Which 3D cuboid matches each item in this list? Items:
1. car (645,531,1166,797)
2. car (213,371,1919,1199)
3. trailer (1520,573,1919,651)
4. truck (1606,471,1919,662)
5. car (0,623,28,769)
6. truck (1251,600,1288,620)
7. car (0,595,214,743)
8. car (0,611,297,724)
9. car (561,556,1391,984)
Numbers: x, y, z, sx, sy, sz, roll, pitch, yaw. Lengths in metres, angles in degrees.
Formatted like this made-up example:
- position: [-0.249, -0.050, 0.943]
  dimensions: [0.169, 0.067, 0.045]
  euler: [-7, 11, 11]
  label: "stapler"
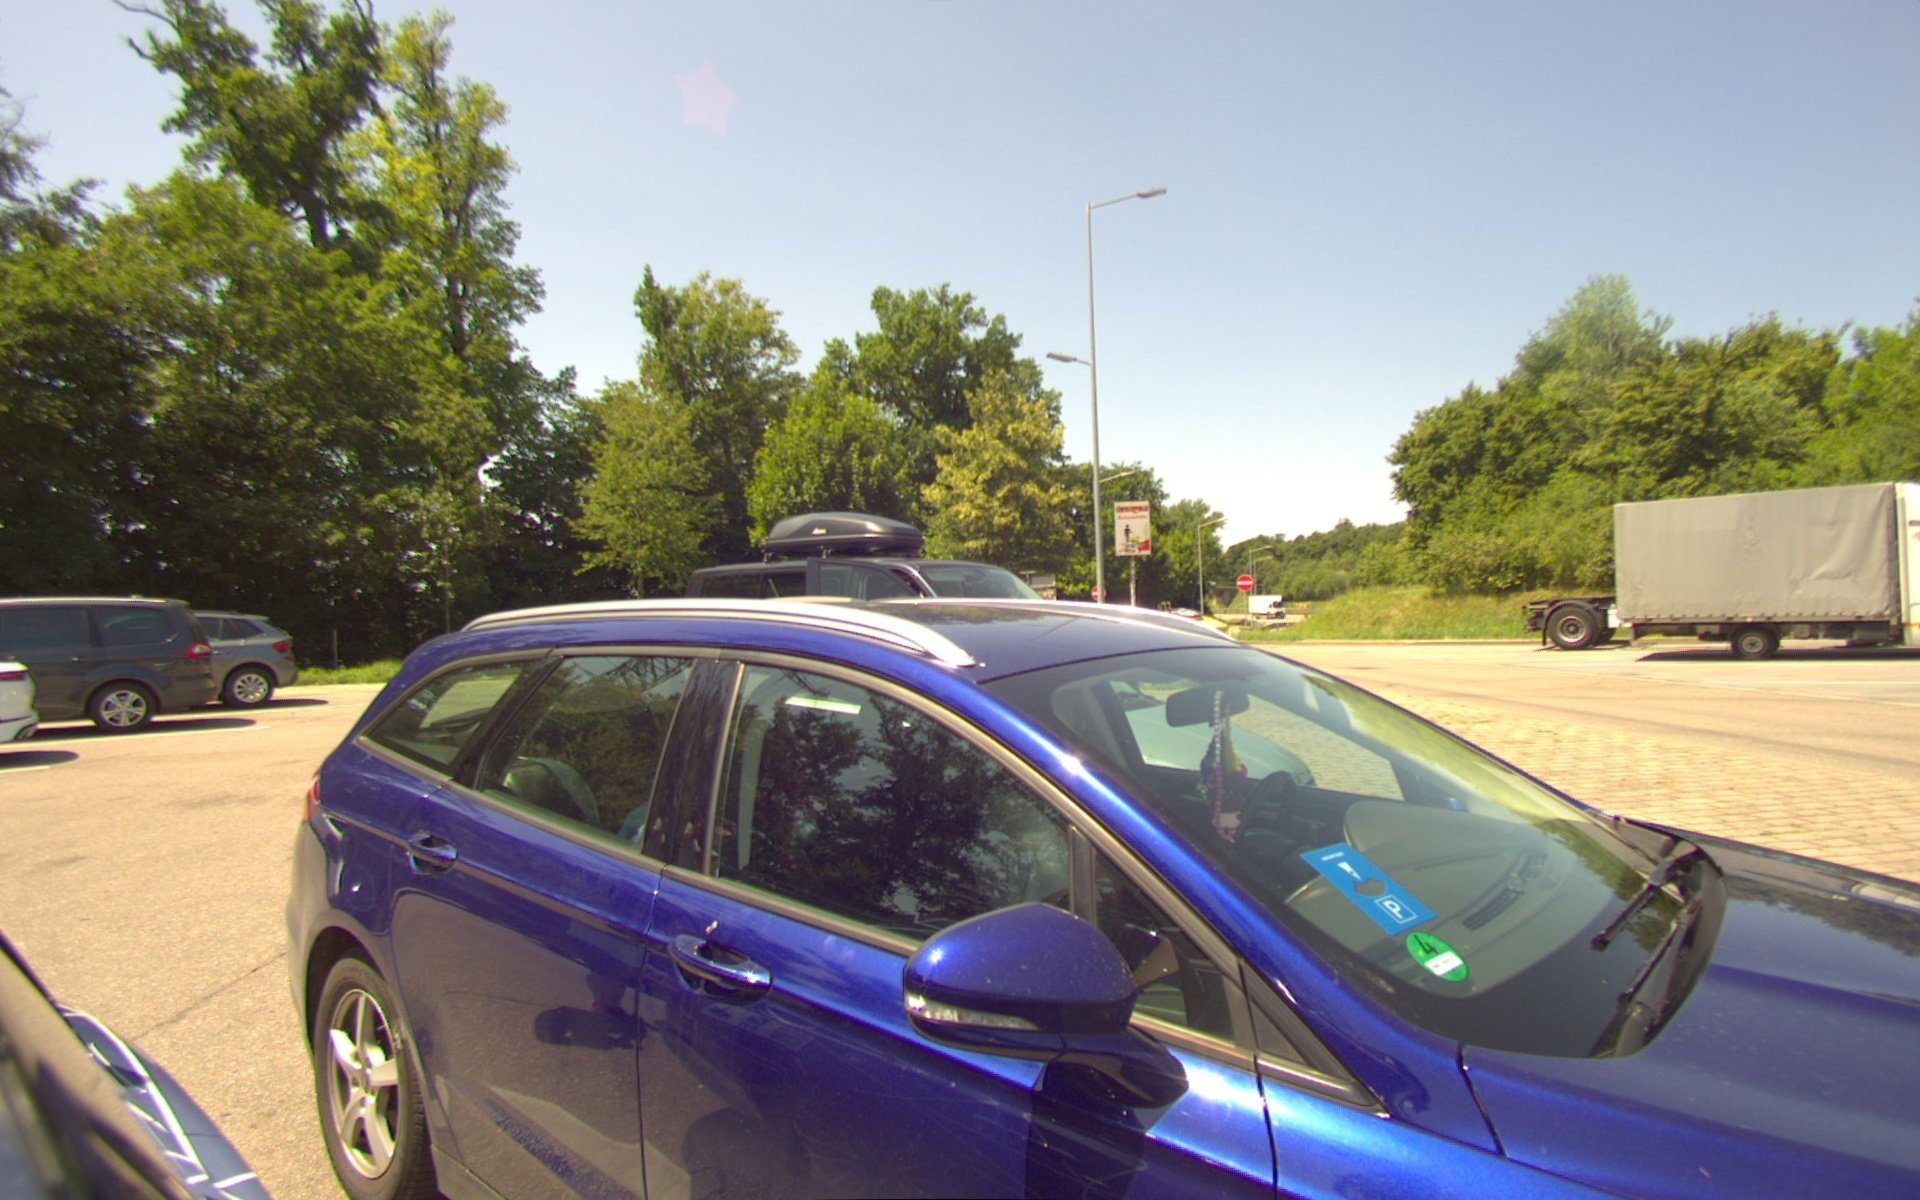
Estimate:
- position: [-0.670, 0.511, 9.360]
  dimensions: [4.635, 1.884, 1.937]
  euler: [-2, 0, 37]
  label: "car"
- position: [0.237, 0.635, 2.075]
  dimensions: [4.637, 1.493, 1.720]
  euler: [-2, -1, 39]
  label: "car"
- position: [17.622, 0.315, 23.159]
  dimensions: [8.088, 1.385, 2.200]
  euler: [-4, -1, 41]
  label: "trailer"
- position: [16.695, -0.598, 18.937]
  dimensions: [7.337, 3.235, 2.502]
  euler: [-4, -1, 41]
  label: "truck"
- position: [-11.008, 0.931, 9.159]
  dimensions: [3.767, 1.396, 1.722]
  euler: [0, -1, -44]
  label: "car"
- position: [48.755, 1.565, 159.689]
  dimensions: [2.442, 3.102, 8.036]
  euler: [-1, 0, -7]
  label: "truck"
- position: [-11.667, 0.821, 12.623]
  dimensions: [3.762, 1.737, 1.724]
  euler: [0, -1, -38]
  label: "car"
- position: [-12.606, 0.954, 15.703]
  dimensions: [3.762, 1.551, 1.724]
  euler: [0, -1, -38]
  label: "car"
- position: [-0.226, 0.672, 5.787]
  dimensions: [4.637, 1.545, 1.720]
  euler: [-2, 0, 39]
  label: "car"
